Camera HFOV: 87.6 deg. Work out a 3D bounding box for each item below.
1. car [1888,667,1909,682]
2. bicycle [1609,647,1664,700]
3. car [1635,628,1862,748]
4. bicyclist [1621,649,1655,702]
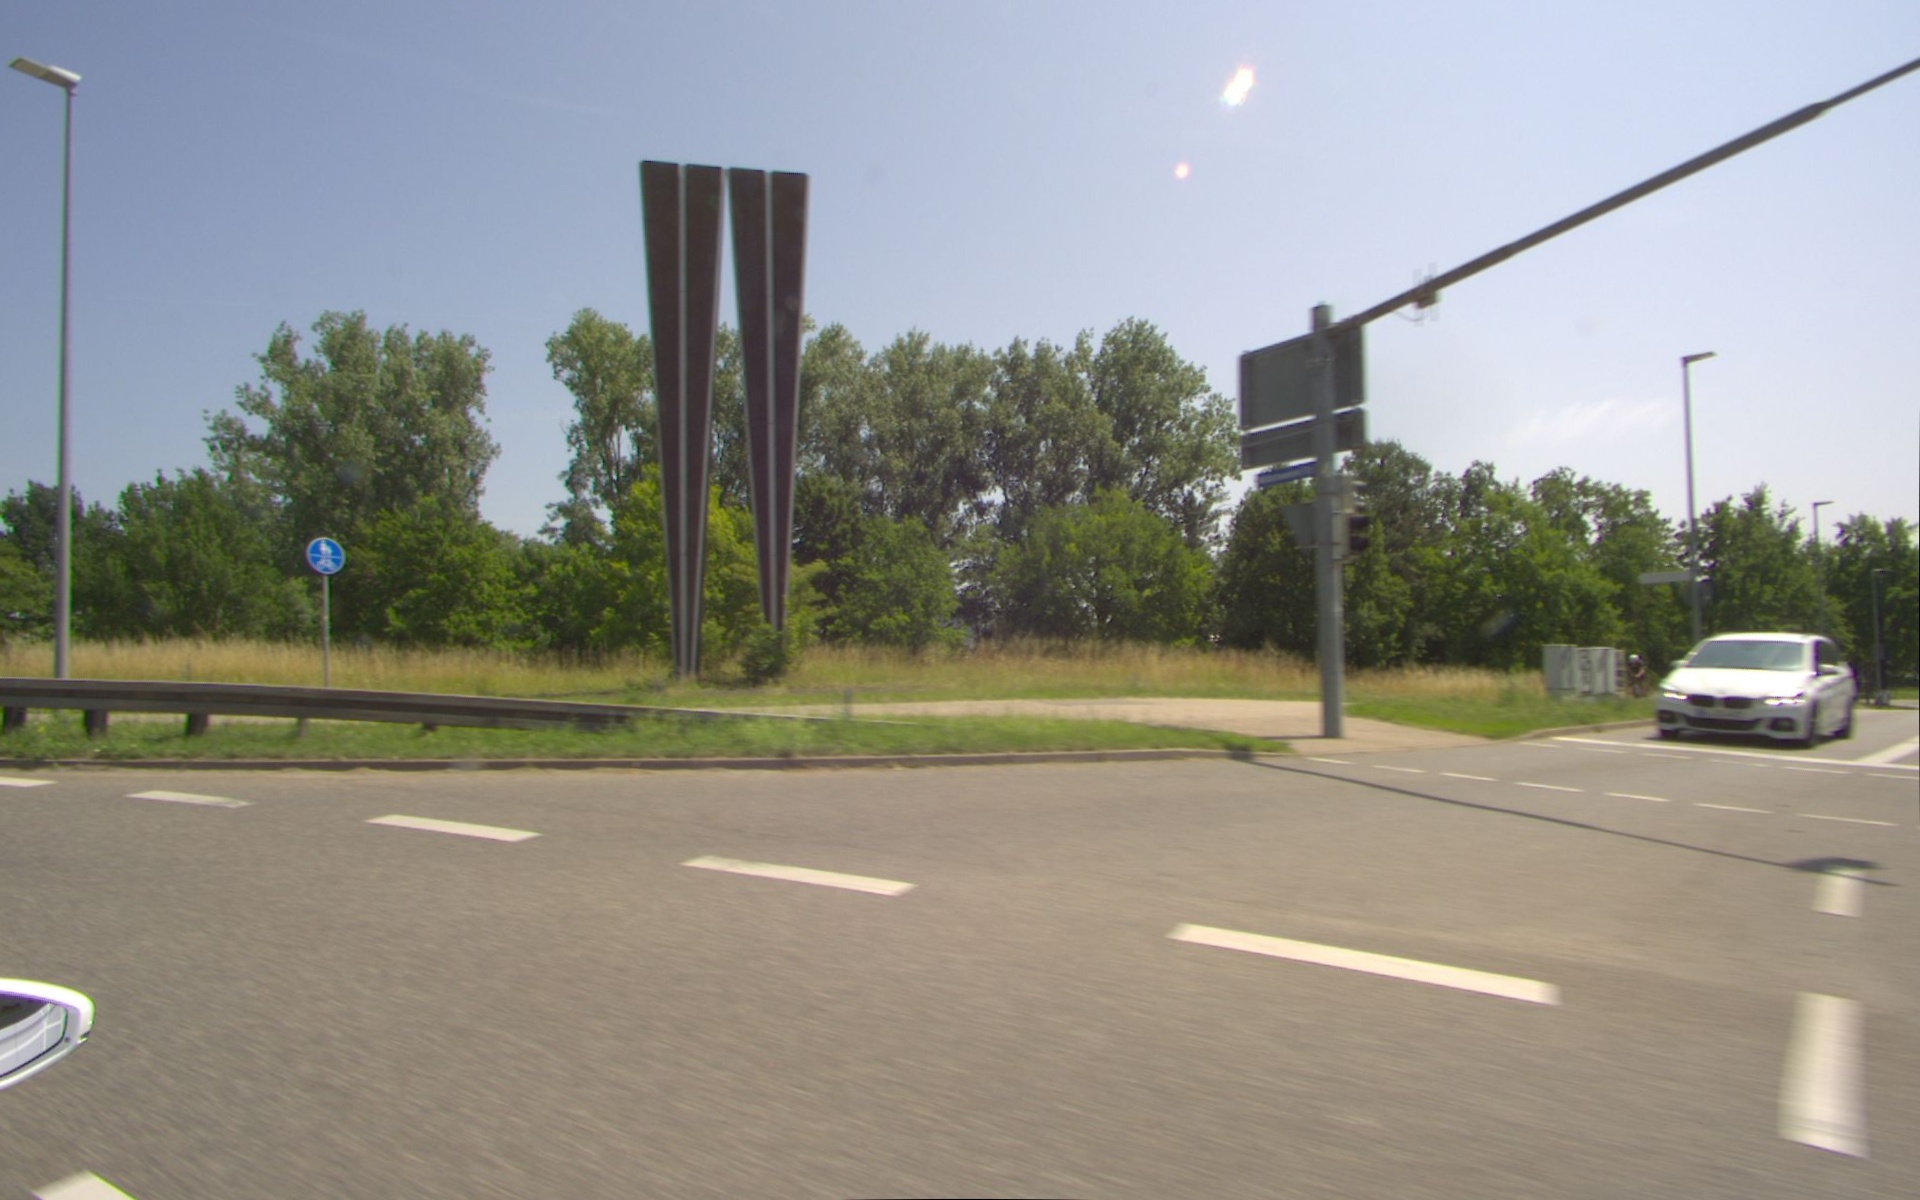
[{"bbox_3d":[106.173,8.423,113.308,1.484,1.631,3.540,-1,-2,40],"label":"car"},{"bbox_3d":[21.237,2.278,31.400,2.345,1.594,0.652,1,-2,-36],"label":"bicycle"},{"bbox_3d":[11.813,1.196,14.906,4.250,1.525,1.852,1,-2,-40],"label":"car"},{"bbox_3d":[21.275,2.363,31.408,0.683,1.619,0.666,1,-1,-35],"label":"bicyclist"}]
